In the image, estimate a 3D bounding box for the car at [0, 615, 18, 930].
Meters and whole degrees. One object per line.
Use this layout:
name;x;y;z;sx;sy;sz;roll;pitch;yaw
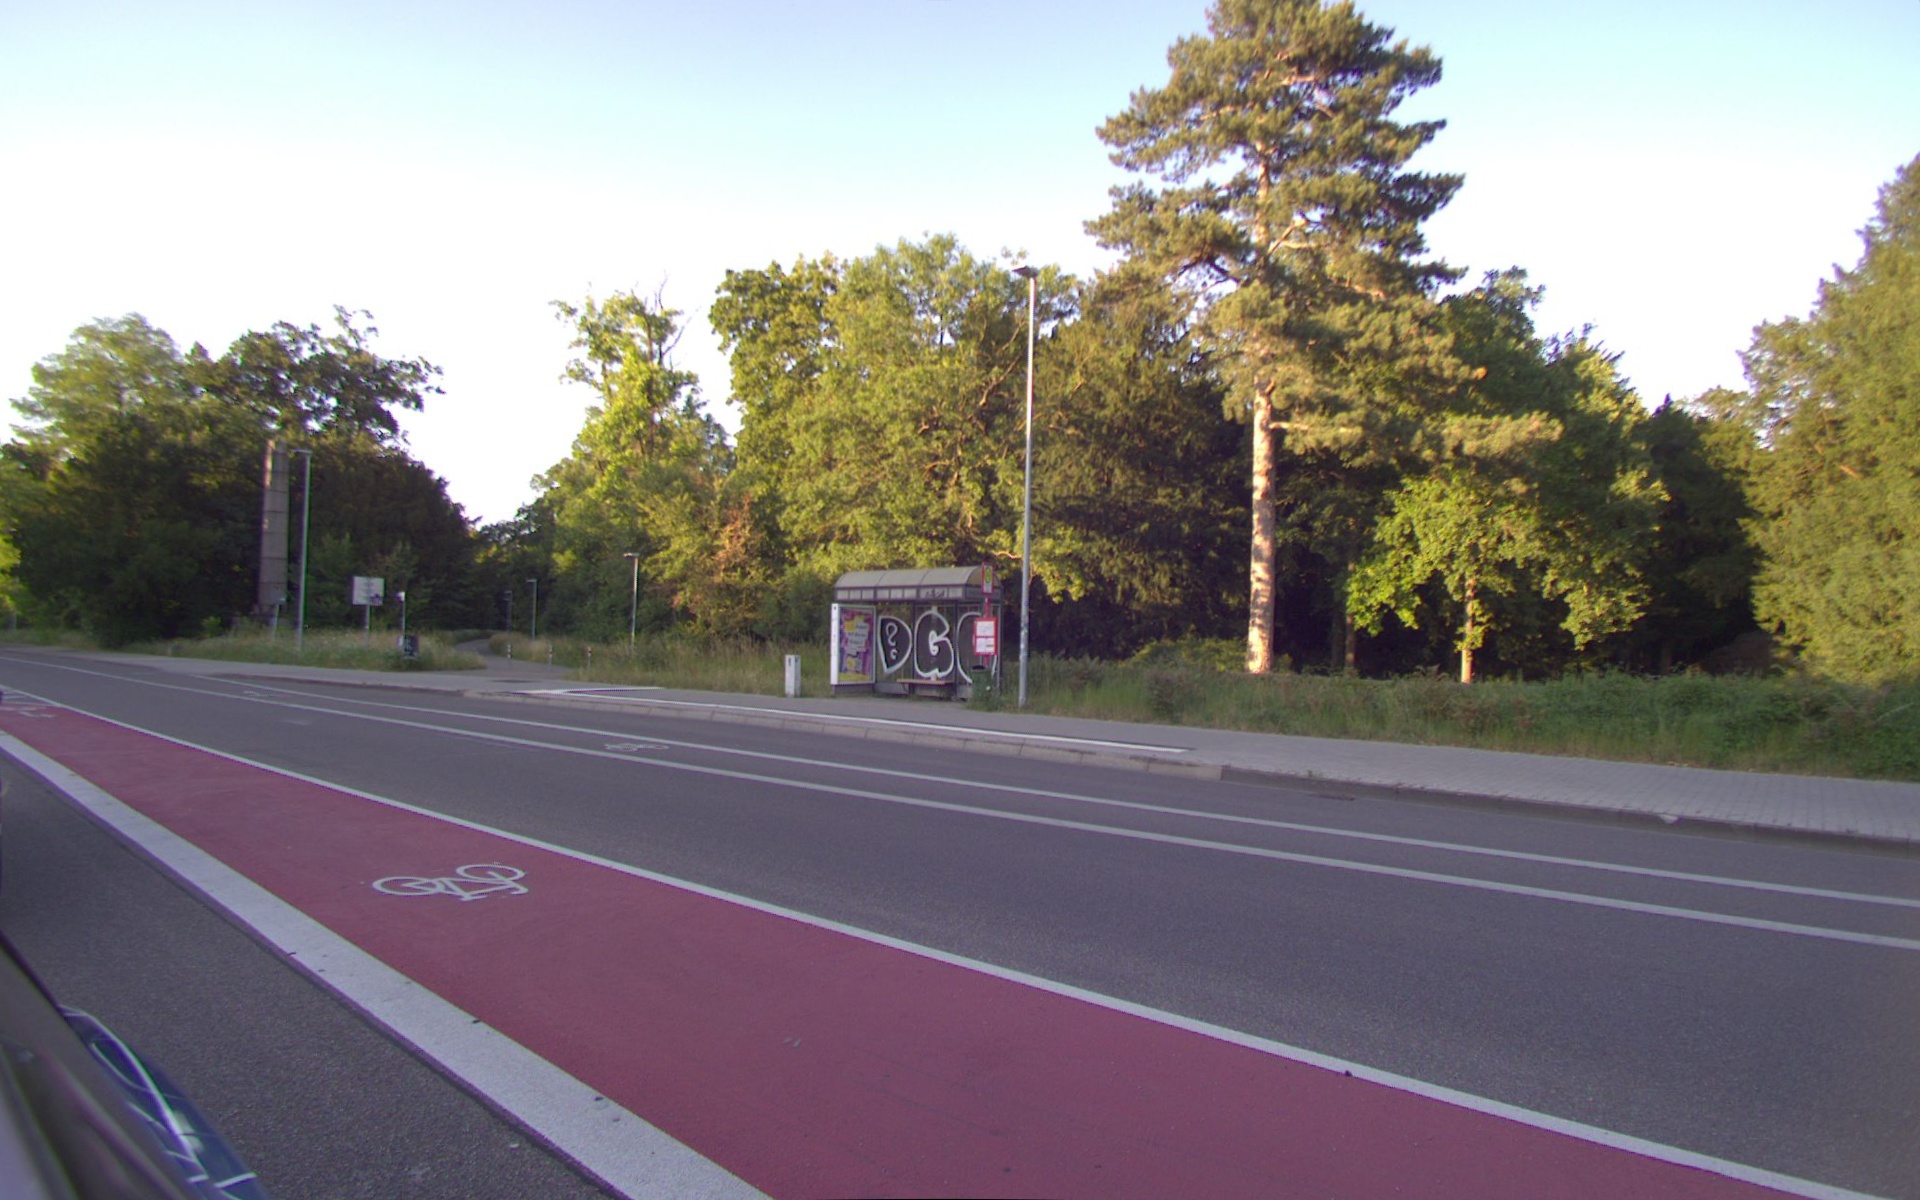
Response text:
car;-6.832;0.821;5.553;5.209;1.410;1.795;-1;0;40
